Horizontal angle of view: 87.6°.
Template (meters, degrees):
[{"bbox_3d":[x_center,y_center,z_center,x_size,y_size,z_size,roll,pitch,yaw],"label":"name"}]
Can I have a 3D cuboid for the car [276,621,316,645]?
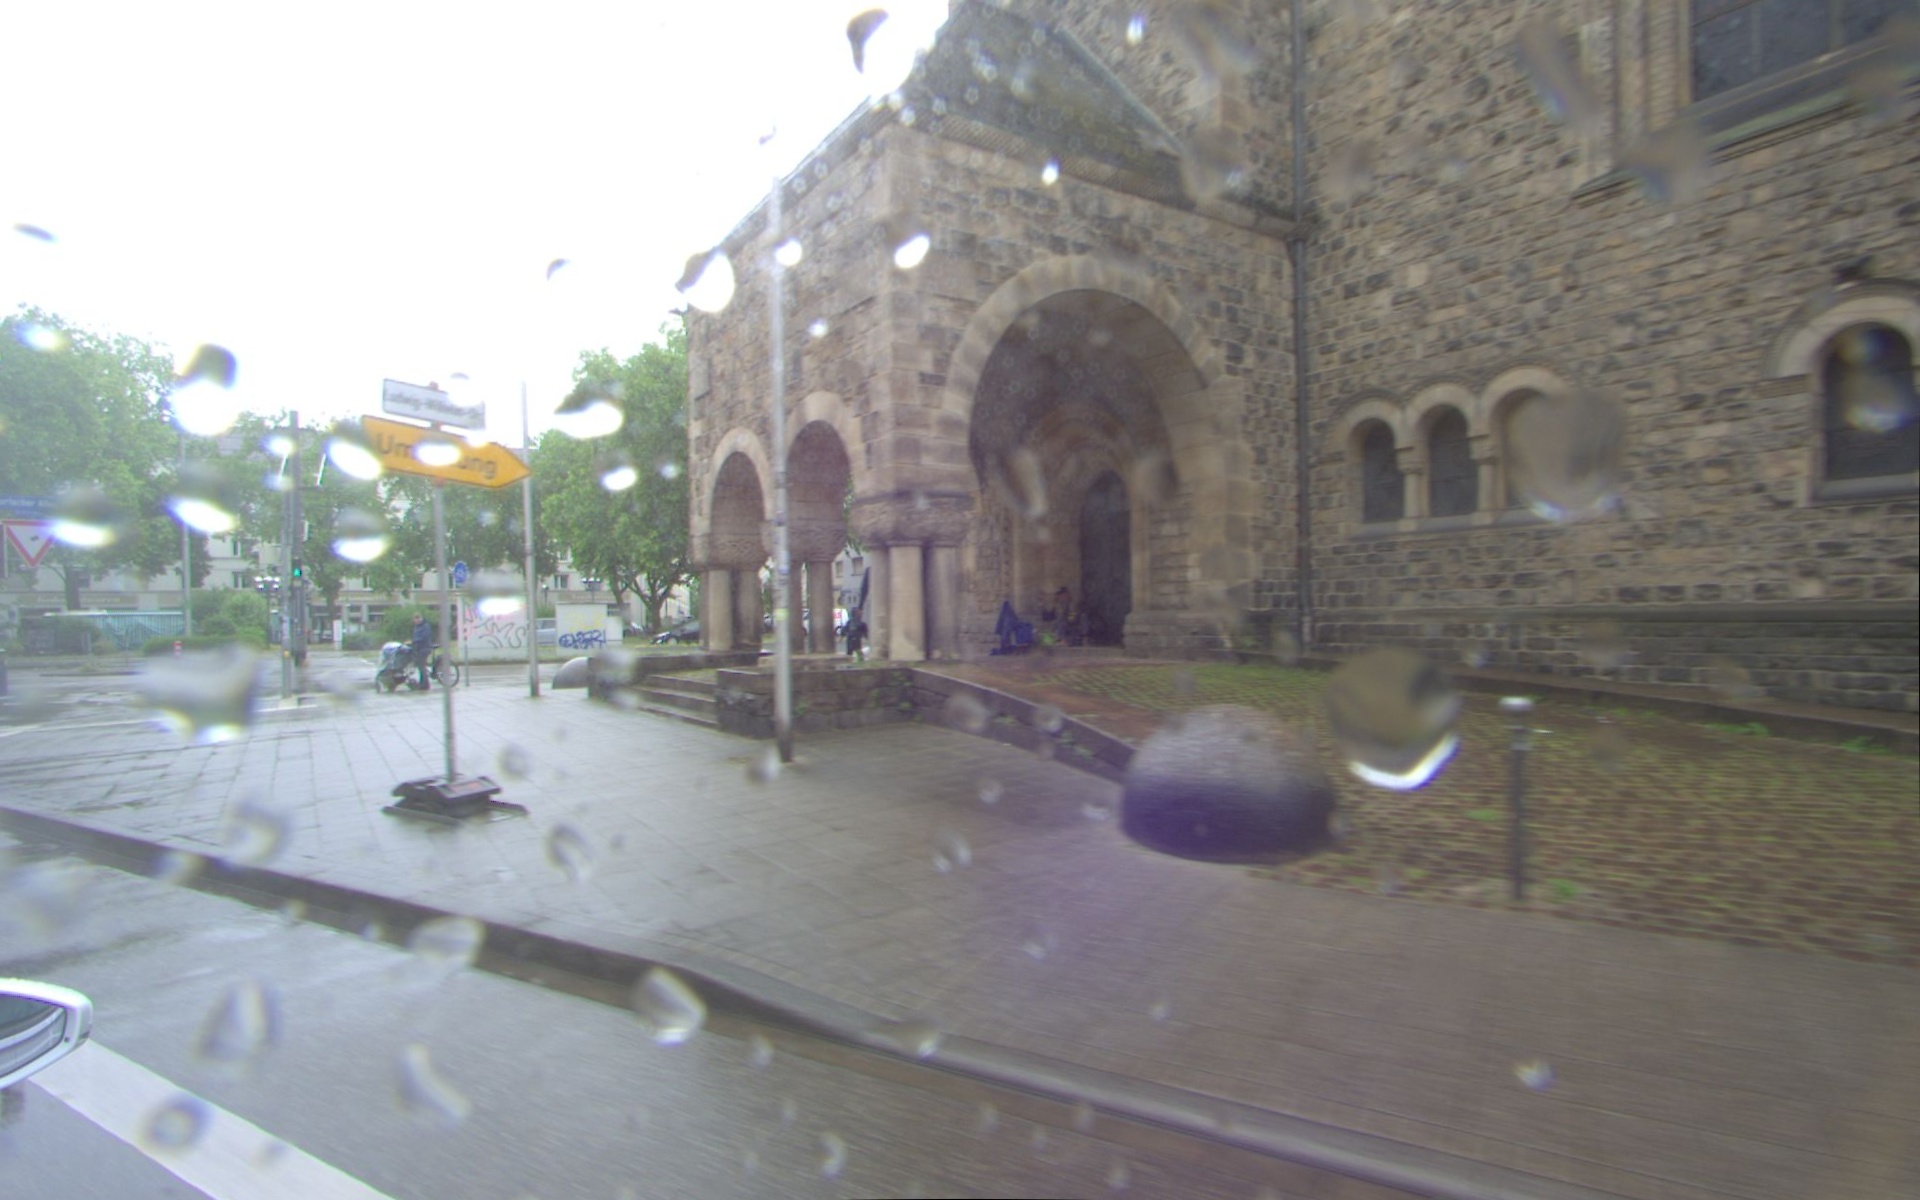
[{"bbox_3d":[-44.030,2.192,66.362,1.651,1.541,3.645,-1,-1,-42],"label":"car"}]

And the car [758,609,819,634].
[{"bbox_3d":[-12.804,1.584,74.969,4.210,1.802,1.725,-1,0,-38],"label":"car"}]

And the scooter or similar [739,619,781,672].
[{"bbox_3d":[-5.517,1.247,27.612,1.089,1.405,0.284,-1,0,-36],"label":"scooter or similar"}]

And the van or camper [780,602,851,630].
[{"bbox_3d":[-10.147,1.115,70.584,4.615,1.940,1.985,0,0,-38],"label":"van or camper"}]

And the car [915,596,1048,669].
[{"bbox_3d":[0.463,0.839,24.548,1.712,1.593,3.343,-1,-4,-31],"label":"car"}]

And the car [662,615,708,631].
[{"bbox_3d":[-26.098,2.162,95.006,3.945,1.471,1.667,-1,-1,-33],"label":"car"}]

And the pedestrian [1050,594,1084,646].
[{"bbox_3d":[1.894,0.348,17.722,0.391,0.896,0.453,-1,0,-35],"label":"pedestrian"}]

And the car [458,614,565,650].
[{"bbox_3d":[-21.720,1.516,48.539,4.496,1.621,1.780,0,0,-35],"label":"car"}]

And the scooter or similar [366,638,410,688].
[{"bbox_3d":[-12.791,1.396,22.399,0.912,1.062,0.511,0,0,35],"label":"scooter or similar"}]

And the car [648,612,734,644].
[{"bbox_3d":[-14.422,1.476,53.698,4.125,1.621,1.766,0,0,-35],"label":"car"}]

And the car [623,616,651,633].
[{"bbox_3d":[-31.781,2.399,98.479,1.693,1.638,3.978,1,-2,-32],"label":"car"}]

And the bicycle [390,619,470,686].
[{"bbox_3d":[-12.268,1.202,23.165,1.907,1.486,0.532,-1,0,23],"label":"bicycle"}]

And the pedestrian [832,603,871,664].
[{"bbox_3d":[-1.648,0.503,15.202,0.451,0.896,0.393,-1,0,-38],"label":"pedestrian"}]

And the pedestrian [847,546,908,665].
[{"bbox_3d":[-1.227,0.088,14.924,0.626,1.725,0.673,-1,0,-38],"label":"pedestrian"}]

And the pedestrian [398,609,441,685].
[{"bbox_3d":[-12.251,1.061,22.706,0.680,1.685,0.601,0,1,35],"label":"pedestrian"}]
